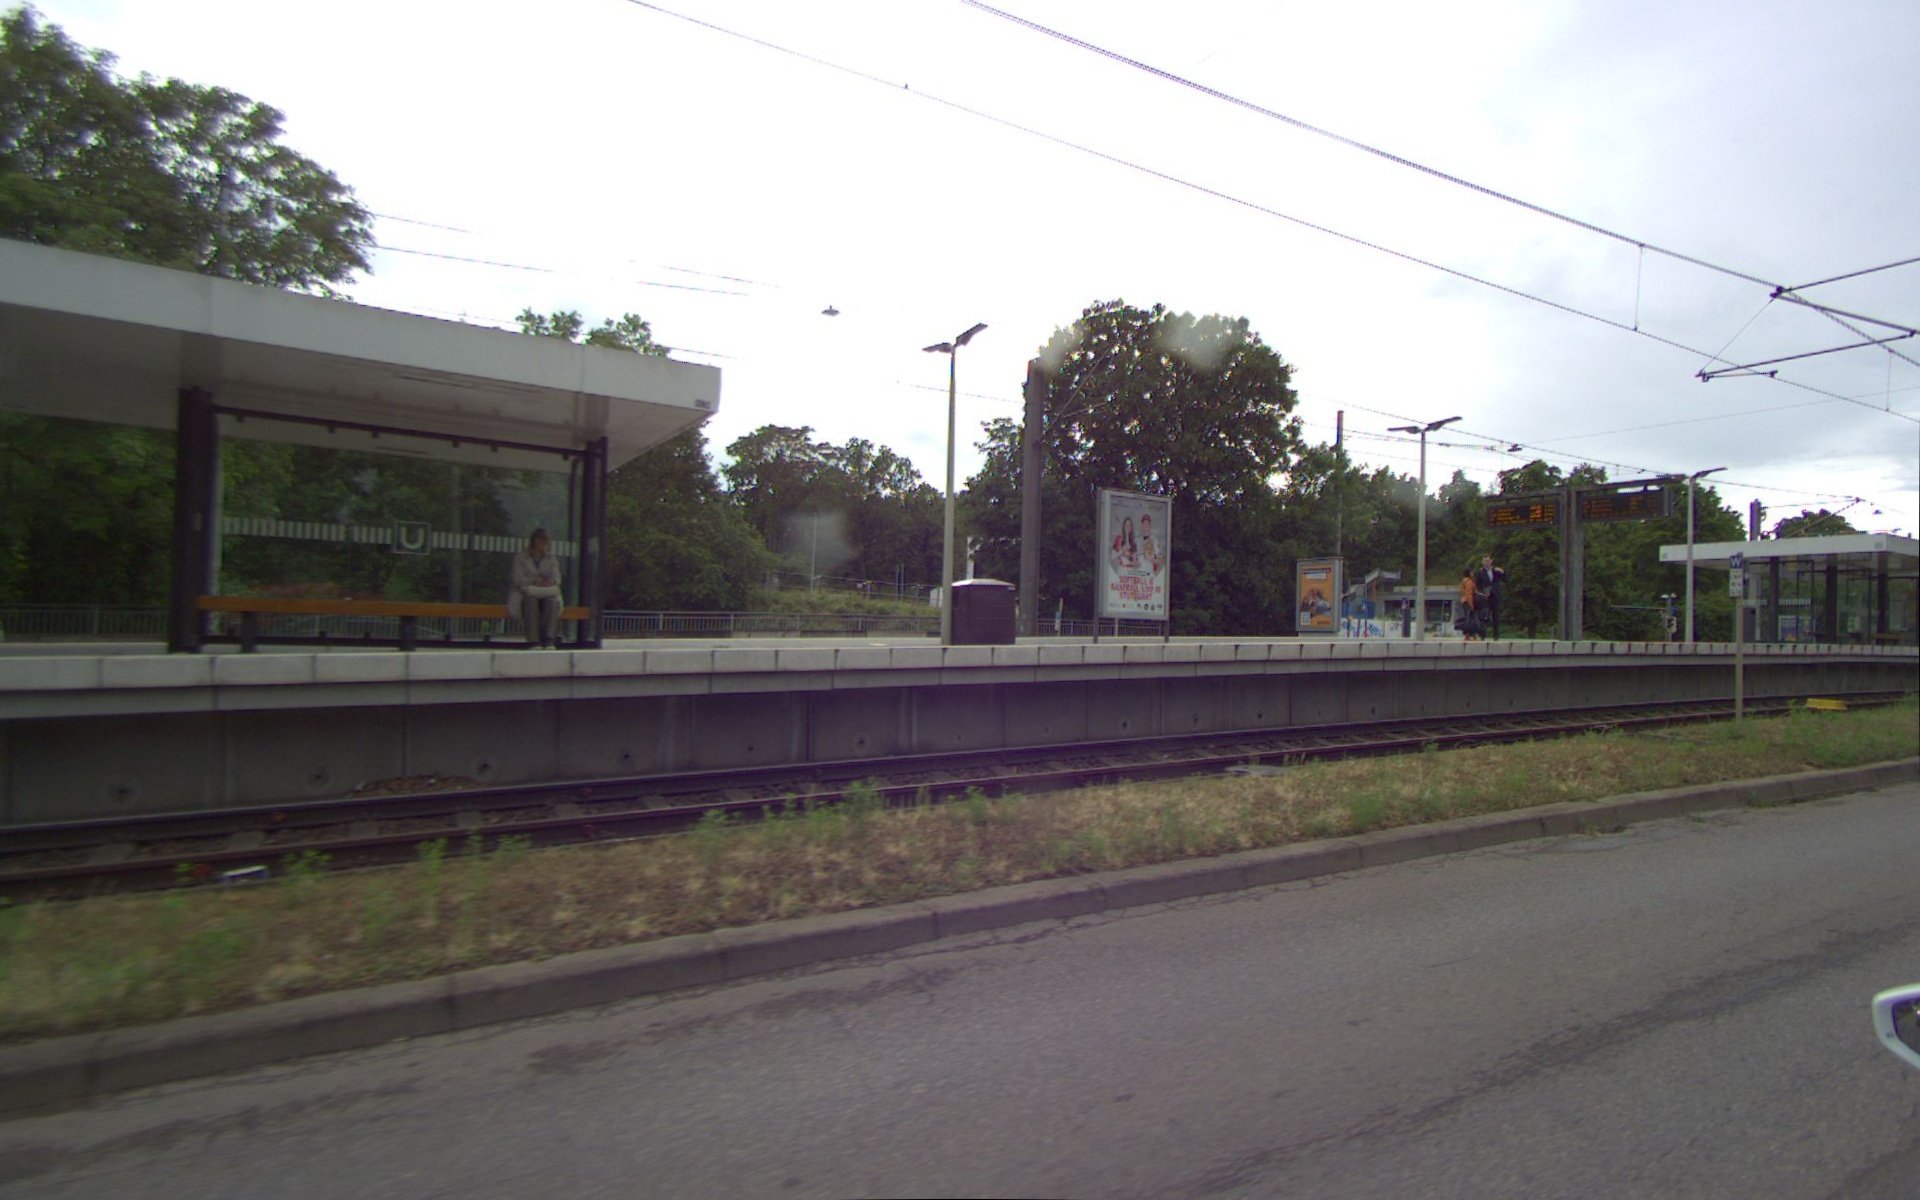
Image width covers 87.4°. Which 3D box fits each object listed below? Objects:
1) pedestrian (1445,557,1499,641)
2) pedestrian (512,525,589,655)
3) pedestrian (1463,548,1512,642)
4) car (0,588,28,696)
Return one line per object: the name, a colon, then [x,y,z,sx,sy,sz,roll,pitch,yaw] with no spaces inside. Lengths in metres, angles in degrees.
pedestrian: [10.474,-0.028,20.541,0.785,1.669,0.915,2,2,38]
pedestrian: [-4.109,-0.087,10.067,0.612,1.242,0.707,1,0,-30]
pedestrian: [11.116,-0.112,21.158,0.734,1.935,0.838,2,2,39]
car: [-19.107,0.695,17.039,4.467,1.901,1.983,1,-1,-32]
